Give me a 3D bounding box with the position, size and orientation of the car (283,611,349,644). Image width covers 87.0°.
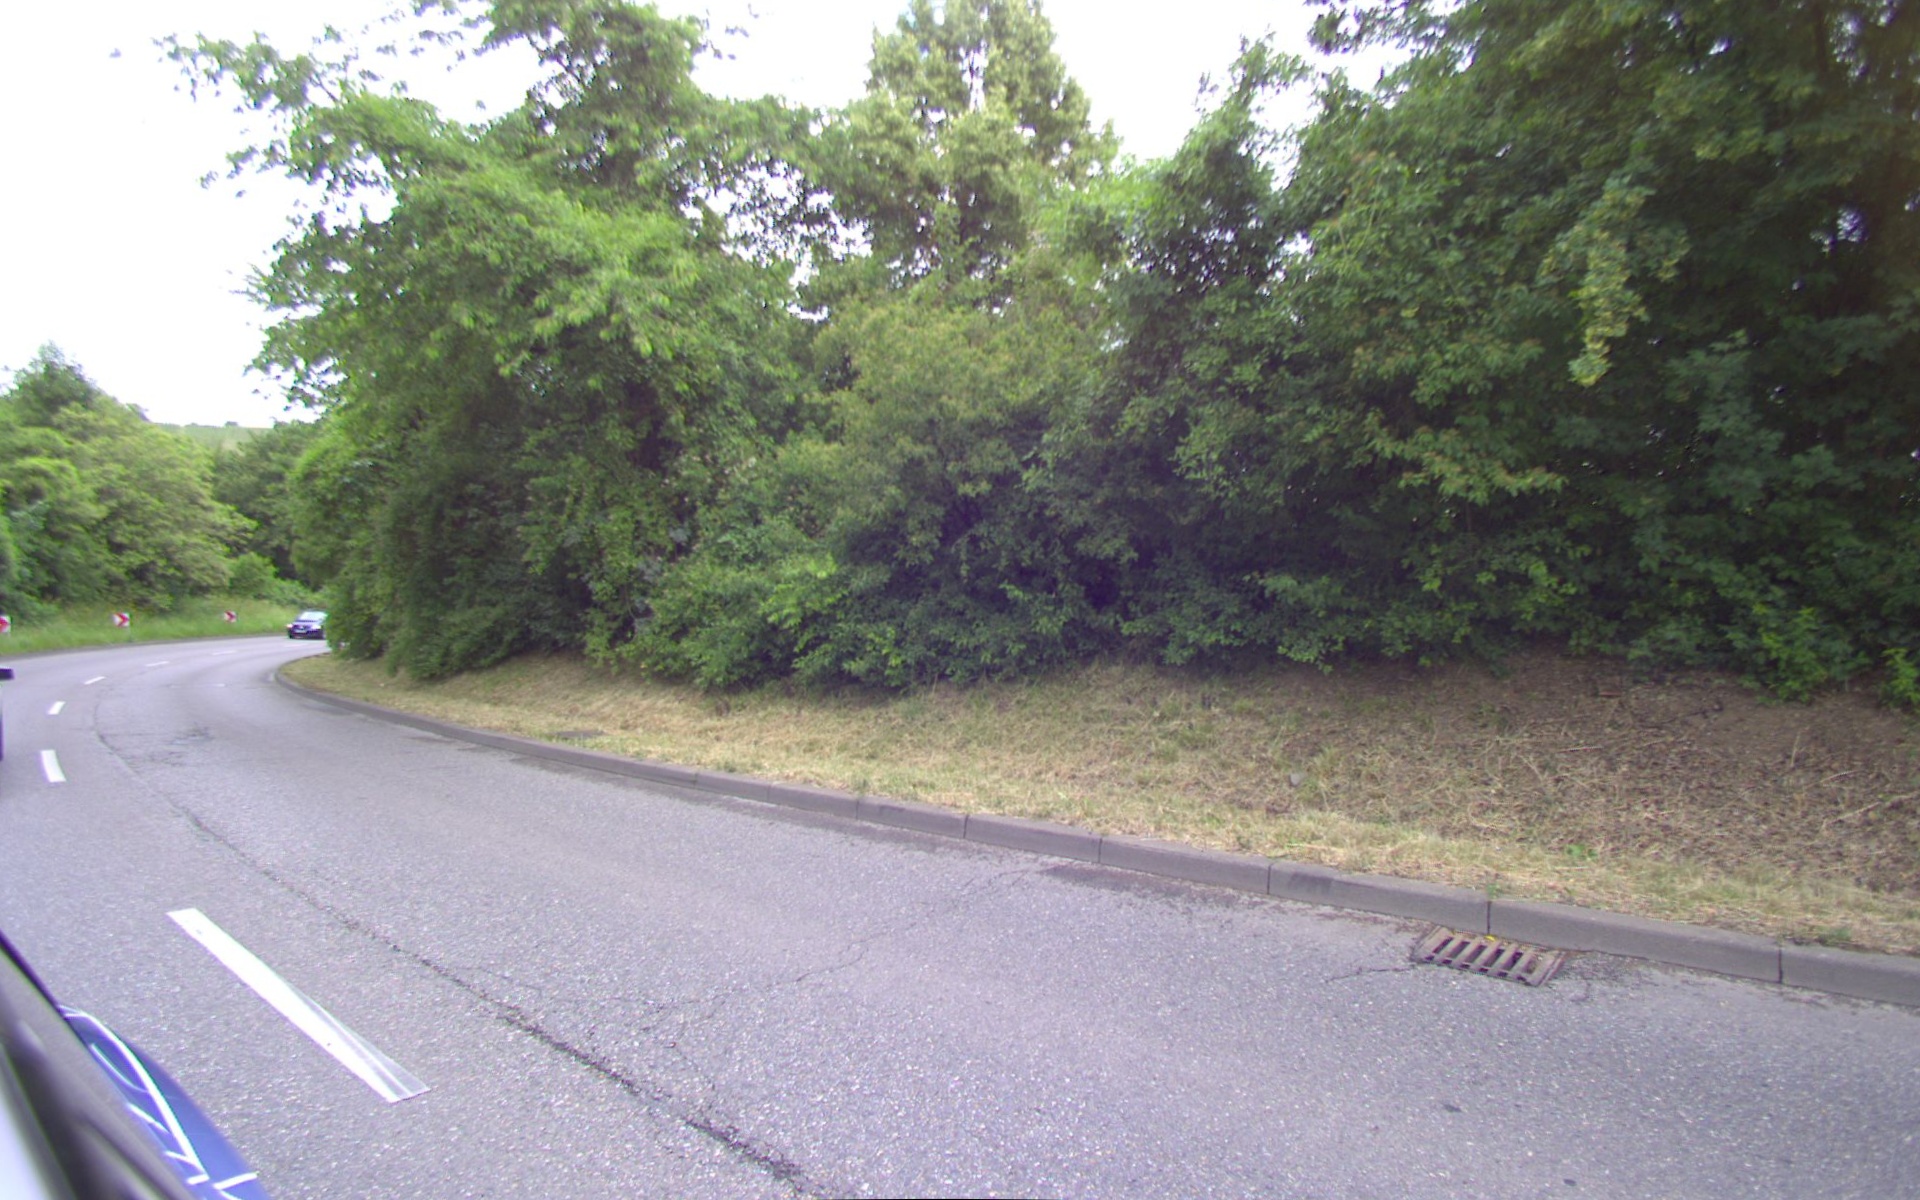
[{"bbox_3d":[-34.992,1.473,55.066,1.530,1.657,3.746,5,-2,-8],"label":"car"}]
